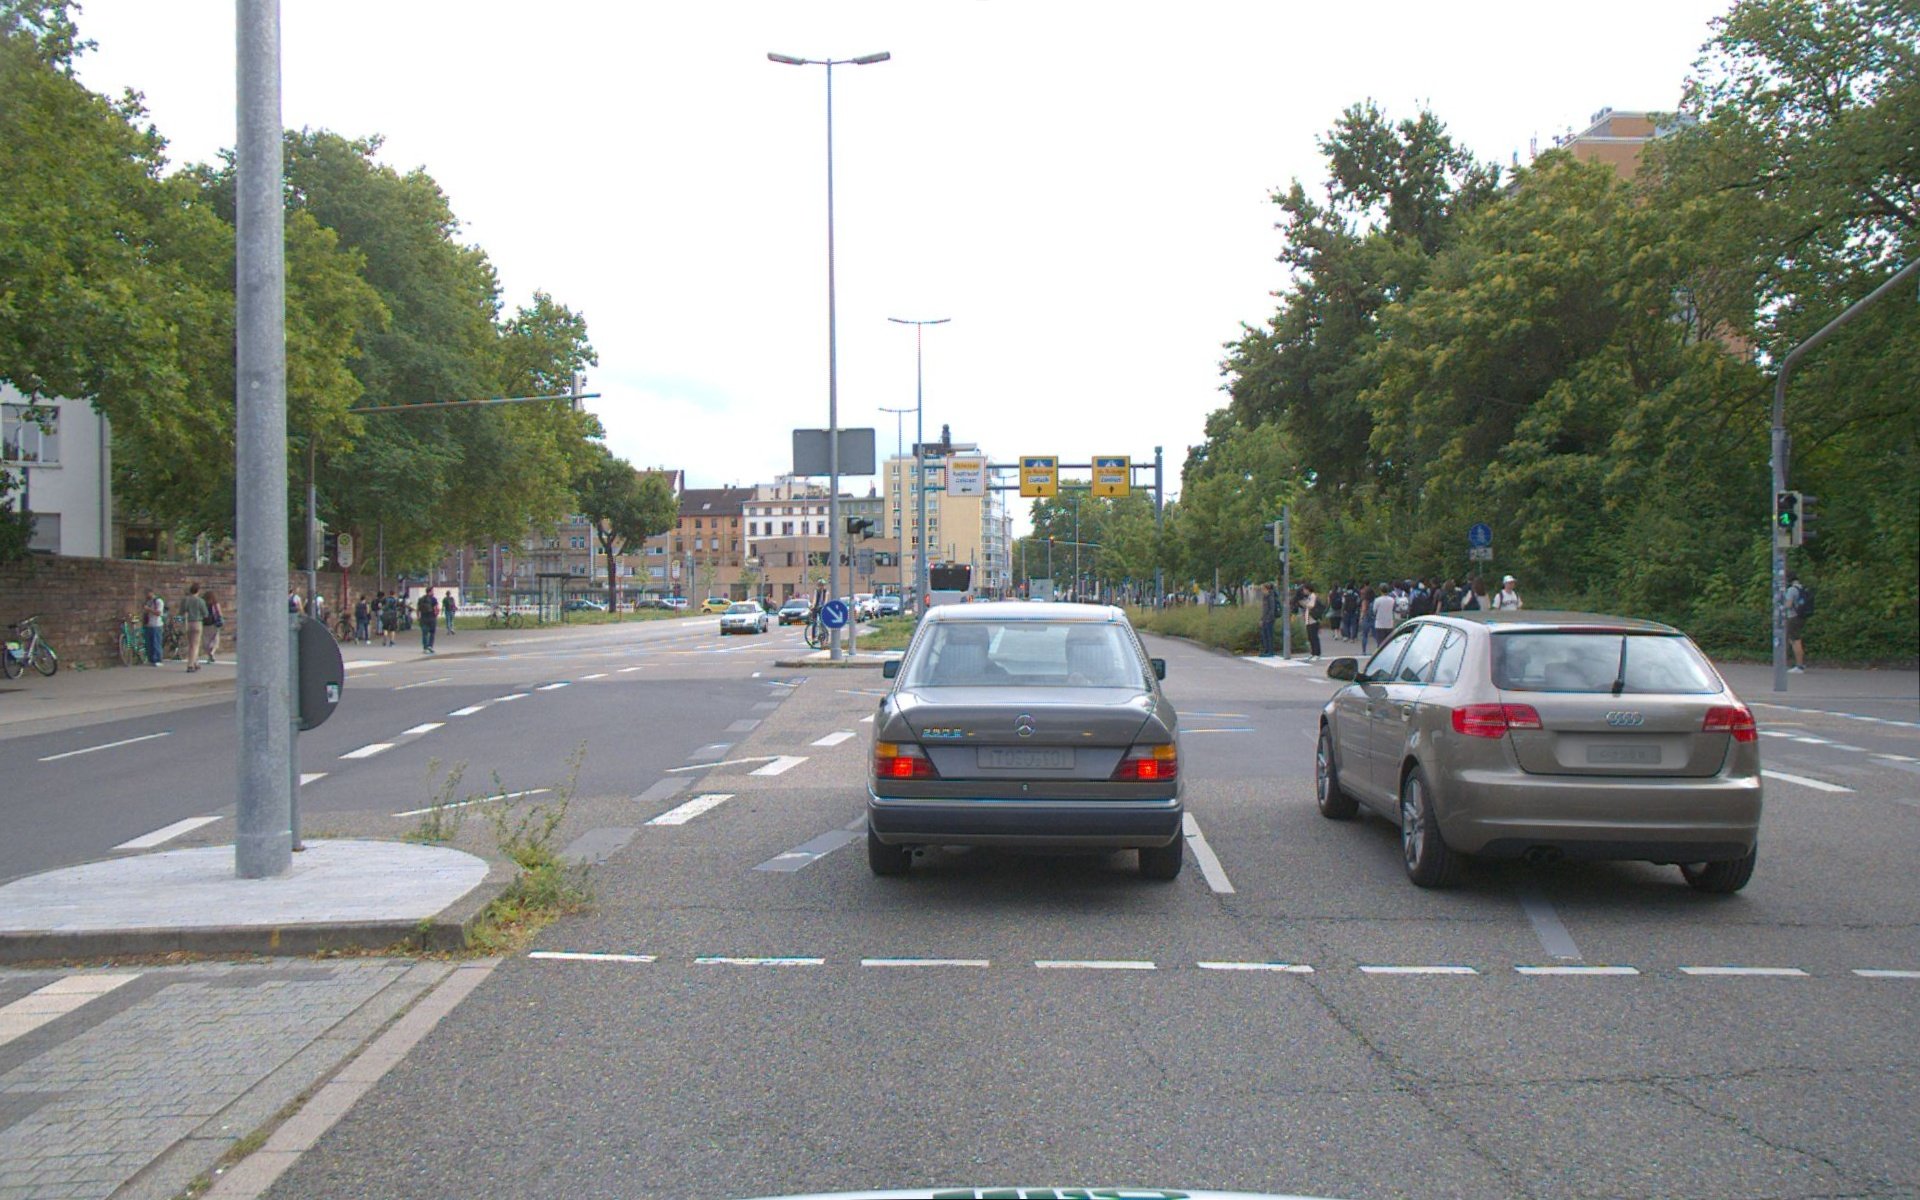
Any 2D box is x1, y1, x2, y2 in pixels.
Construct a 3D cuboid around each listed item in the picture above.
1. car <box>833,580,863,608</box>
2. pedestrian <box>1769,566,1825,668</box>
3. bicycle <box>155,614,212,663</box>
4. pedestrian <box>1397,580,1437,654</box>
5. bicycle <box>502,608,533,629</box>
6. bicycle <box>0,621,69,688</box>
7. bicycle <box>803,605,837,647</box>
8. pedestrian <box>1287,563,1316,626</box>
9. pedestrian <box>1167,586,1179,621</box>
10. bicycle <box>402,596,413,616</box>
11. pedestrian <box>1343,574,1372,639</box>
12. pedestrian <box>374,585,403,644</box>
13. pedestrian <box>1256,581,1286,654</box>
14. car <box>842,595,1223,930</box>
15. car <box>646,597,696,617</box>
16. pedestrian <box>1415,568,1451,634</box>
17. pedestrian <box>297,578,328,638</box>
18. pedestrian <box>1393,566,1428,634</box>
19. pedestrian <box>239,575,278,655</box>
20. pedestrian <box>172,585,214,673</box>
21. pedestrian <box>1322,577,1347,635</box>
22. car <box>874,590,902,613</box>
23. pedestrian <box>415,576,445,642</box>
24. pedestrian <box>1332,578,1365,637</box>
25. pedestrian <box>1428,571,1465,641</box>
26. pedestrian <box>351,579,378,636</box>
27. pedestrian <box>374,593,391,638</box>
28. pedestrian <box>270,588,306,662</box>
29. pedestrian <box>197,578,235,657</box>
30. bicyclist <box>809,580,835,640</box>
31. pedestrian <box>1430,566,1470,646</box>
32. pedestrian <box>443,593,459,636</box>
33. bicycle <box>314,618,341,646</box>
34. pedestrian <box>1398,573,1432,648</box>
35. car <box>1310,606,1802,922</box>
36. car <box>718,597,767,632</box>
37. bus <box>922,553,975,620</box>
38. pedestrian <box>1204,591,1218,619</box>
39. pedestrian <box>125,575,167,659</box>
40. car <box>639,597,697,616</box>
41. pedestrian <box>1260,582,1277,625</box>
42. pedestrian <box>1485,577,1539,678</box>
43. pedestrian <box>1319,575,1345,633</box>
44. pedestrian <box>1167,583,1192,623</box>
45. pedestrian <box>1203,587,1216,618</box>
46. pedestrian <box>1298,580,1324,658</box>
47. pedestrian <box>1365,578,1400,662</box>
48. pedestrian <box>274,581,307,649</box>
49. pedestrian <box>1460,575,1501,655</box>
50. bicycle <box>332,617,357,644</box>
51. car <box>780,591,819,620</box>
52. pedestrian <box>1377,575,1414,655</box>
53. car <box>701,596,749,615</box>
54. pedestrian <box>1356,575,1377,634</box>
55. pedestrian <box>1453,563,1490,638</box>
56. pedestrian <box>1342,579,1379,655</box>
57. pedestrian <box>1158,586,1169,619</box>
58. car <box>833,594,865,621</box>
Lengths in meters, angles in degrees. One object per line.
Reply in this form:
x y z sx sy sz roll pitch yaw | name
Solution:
-8.367 -0.471 123.705 1.902 2.049 4.000 -1 0 0 | car
15.209 0.300 30.070 0.631 1.827 0.740 0 0 -1 | pedestrian
-18.346 0.893 39.102 0.538 1.077 1.979 2 0 -5 | bicycle
11.337 0.412 41.056 0.643 1.797 0.957 -3 0 -1 | pedestrian
-20.291 0.832 75.908 0.460 0.935 2.341 0 0 9 | bicycle
-17.472 0.988 30.860 0.566 1.145 2.164 2 0 -3 | bicycle
-3.724 0.693 44.044 0.561 1.074 1.927 0 0 5 | bicycle
10.250 -0.168 49.618 0.678 1.853 0.954 -1 0 2 | pedestrian
12.453 0.188 96.641 0.601 2.049 0.597 0 0 0 | pedestrian
-24.500 0.267 73.350 0.341 0.893 1.515 2 -1 -16 | bicycle
11.506 0.182 47.868 0.642 1.853 0.812 -1 0 2 | pedestrian
-17.665 0.452 51.122 0.750 1.814 0.916 0 -2 -27 | pedestrian
7.566 0.429 40.235 0.589 1.765 0.654 0 0 -1 | pedestrian
0.364 0.737 9.650 1.725 1.515 4.171 -1 0 1 | car
-24.800 0.573 141.849 4.072 1.678 1.645 -1 0 -5 | car
12.429 0.025 43.447 0.643 1.696 0.971 -1 0 -1 | pedestrian
-19.099 0.232 48.767 0.750 1.700 0.916 0 2 -27 | pedestrian
11.593 0.009 42.566 0.643 1.719 0.842 -1 0 -1 | pedestrian
-16.102 0.347 37.946 0.750 1.814 0.776 0 -2 -28 | pedestrian
-16.163 0.611 34.853 0.737 1.814 0.775 0 -2 -31 | pedestrian
11.111 0.177 49.079 0.544 1.684 0.753 -1 0 2 | pedestrian
-5.077 0.095 117.113 1.764 1.538 4.104 -1 0 1 | car
-14.707 0.252 45.853 0.748 1.814 0.717 0 -2 -22 | pedestrian
10.944 0.217 46.626 0.759 1.630 0.812 -1 0 2 | pedestrian
12.039 0.146 40.949 0.643 1.729 0.780 -1 0 -1 | pedestrian
-19.139 0.259 53.149 0.750 1.814 0.777 0 -2 -27 | pedestrian
-21.264 0.573 60.903 0.578 1.620 0.731 0 -2 -21 | pedestrian
-16.547 0.621 40.713 0.750 1.814 0.777 0 -2 -27 | pedestrian
-17.330 0.418 38.522 0.751 1.814 0.776 0 -2 -30 | pedestrian
-3.696 0.268 44.198 0.560 1.601 0.700 0 0 5 | bicyclist
11.038 0.132 37.263 0.643 1.776 0.780 -1 0 -1 | pedestrian
-19.942 0.575 64.793 0.551 1.697 0.624 0 -2 -15 | pedestrian
-20.185 1.024 52.780 0.432 0.811 1.618 2 1 -8 | bicycle
10.864 0.246 39.471 0.569 1.776 0.789 -1 0 -1 | pedestrian
3.278 0.803 9.876 1.688 1.483 3.737 -1 0 2 | car
-9.877 0.644 75.308 1.725 1.515 4.544 -1 0 -1 | car
-0.614 -0.730 90.087 2.773 3.449 8.182 0 0 0 | bus
13.543 0.293 89.218 0.644 1.496 0.561 -1 0 -1 | pedestrian
-17.953 0.377 36.489 0.738 1.814 0.775 1 -2 -33 | pedestrian
-24.294 0.503 137.864 4.576 1.501 1.659 1 0 -3 | car
12.546 0.136 67.312 0.575 1.712 0.748 -1 0 2 | pedestrian
10.460 0.514 31.381 0.633 1.885 0.826 1 0 -13 | pedestrian
11.459 0.134 50.956 0.606 1.766 0.815 -1 0 2 | pedestrian
10.463 0.129 78.802 0.916 1.862 0.886 -1 0 29 | pedestrian
14.042 0.152 93.064 0.633 1.743 0.562 -1 0 16 | pedestrian
7.979 0.432 37.621 0.445 1.765 0.637 0 0 -1 | pedestrian
8.664 0.405 33.927 0.534 1.716 0.637 0 0 -1 | pedestrian
-18.035 0.419 44.551 0.750 1.814 0.906 0 -2 -27 | pedestrian
11.716 0.327 37.231 0.643 1.776 0.780 -1 0 -1 | pedestrian
-20.475 1.015 55.024 0.432 0.811 1.618 2 1 -8 | bicycle
-9.369 0.280 97.045 1.858 1.644 4.744 -1 0 -1 | car
9.841 0.334 37.381 0.611 1.776 0.780 -1 0 -1 | pedestrian
-19.578 0.482 138.055 3.780 1.544 1.659 1 0 -4 | car
12.431 0.129 50.573 0.474 1.794 0.664 -1 0 2 | pedestrian
12.359 0.011 39.985 0.643 1.776 0.780 -1 0 -1 | pedestrian
9.471 0.396 39.134 0.643 1.776 0.780 -1 0 -1 | pedestrian
12.511 0.168 101.795 0.601 2.049 0.597 0 0 0 | pedestrian
-6.395 0.409 95.621 1.766 1.515 4.285 -1 0 -4 | car
